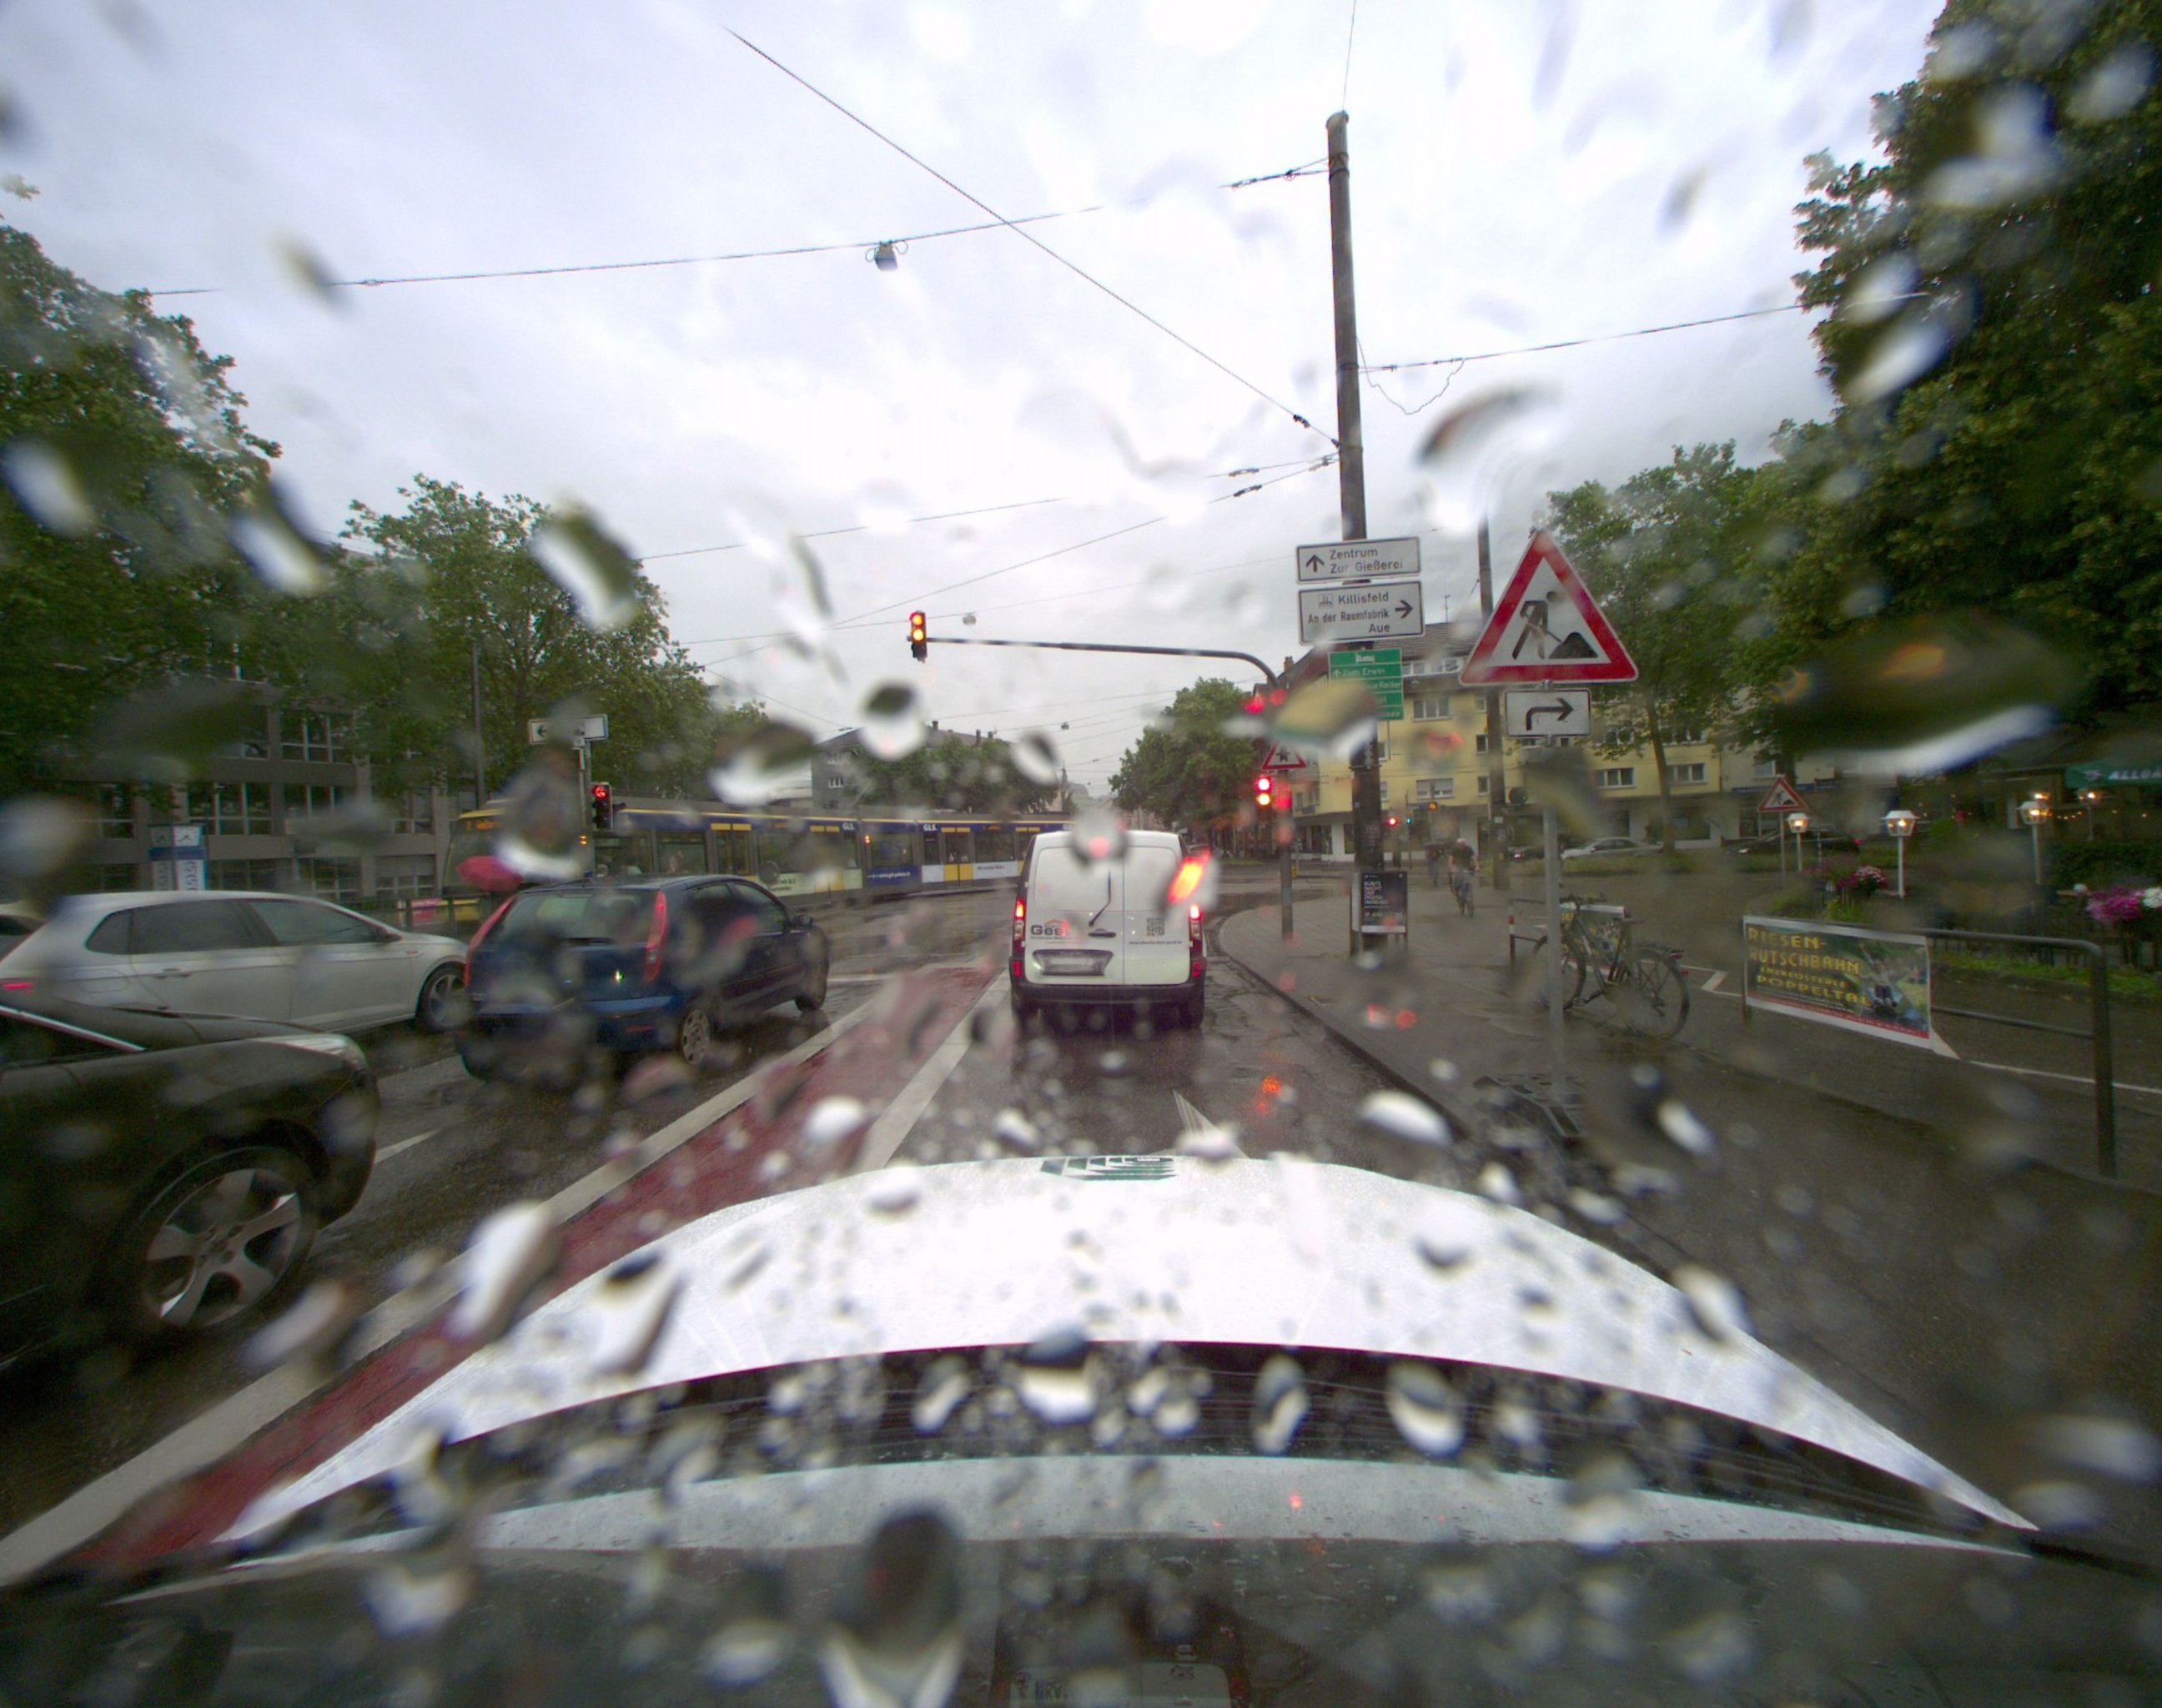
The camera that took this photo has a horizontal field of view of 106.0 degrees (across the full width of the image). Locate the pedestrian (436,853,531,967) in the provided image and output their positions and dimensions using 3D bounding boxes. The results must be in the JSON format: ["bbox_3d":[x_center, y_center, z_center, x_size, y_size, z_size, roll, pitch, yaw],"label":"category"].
[{"bbox_3d":[-9.845,0.895,13.461,0.763,1.746,0.899,-4,1,1],"label":"pedestrian"}]

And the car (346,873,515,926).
[{"bbox_3d":[-18.600,1.251,23.487,1.582,1.314,3.538,-1,0,16],"label":"car"}]

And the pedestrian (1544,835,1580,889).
[{"bbox_3d":[15.239,0.242,25.845,0.896,1.669,1.026,-1,0,27],"label":"pedestrian"}]

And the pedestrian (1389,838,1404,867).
[{"bbox_3d":[16.769,-0.080,43.242,0.614,1.500,0.556,-1,-1,31],"label":"pedestrian"}]

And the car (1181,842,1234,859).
[{"bbox_3d":[10.686,-0.316,68.873,4.160,1.339,1.518,-2,1,-6],"label":"car"}]

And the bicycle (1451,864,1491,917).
[{"bbox_3d":[8.586,0.782,17.996,0.455,1.027,1.910,-1,1,16],"label":"bicycle"}]

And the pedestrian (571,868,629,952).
[{"bbox_3d":[-9.438,1.083,15.992,0.621,1.607,0.744,-1,0,9],"label":"pedestrian"}]

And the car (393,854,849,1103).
[{"bbox_3d":[-3.515,0.809,7.154,1.720,1.578,3.822,-1,0,2],"label":"car"}]

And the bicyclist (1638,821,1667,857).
[{"bbox_3d":[26.512,-0.682,37.795,0.810,1.615,0.711,-1,0,2],"label":"bicyclist"}]

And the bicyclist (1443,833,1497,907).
[{"bbox_3d":[8.567,0.354,17.961,0.872,1.583,0.863,-1,0,12],"label":"bicyclist"}]

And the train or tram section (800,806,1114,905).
[{"bbox_3d":[-4.378,0.058,35.424,3.506,3.413,15.603,0,0,36],"label":"train or tram section"}]

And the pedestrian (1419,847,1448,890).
[{"bbox_3d":[12.778,0.510,29.526,0.820,1.534,0.616,-1,-1,-37],"label":"pedestrian"}]

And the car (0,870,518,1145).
[{"bbox_3d":[-6.701,0.925,6.546,1.623,1.494,3.783,-1,0,2],"label":"car"}]

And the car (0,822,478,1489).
[{"bbox_3d":[-3.648,0.768,1.520,1.827,1.668,4.174,-1,0,2],"label":"car"}]

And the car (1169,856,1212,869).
[{"bbox_3d":[9.518,0.734,70.652,3.437,1.130,1.468,-1,0,-6],"label":"car"}]

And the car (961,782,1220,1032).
[{"bbox_3d":[0.155,0.459,9.236,2.092,2.012,4.965,-2,-1,2],"label":"car"}]

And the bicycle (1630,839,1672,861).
[{"bbox_3d":[26.460,-0.190,37.794,1.631,1.002,0.422,-1,0,2],"label":"bicycle"}]

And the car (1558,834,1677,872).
[{"bbox_3d":[23.064,-0.052,35.165,3.906,1.490,1.815,-1,1,17],"label":"car"}]

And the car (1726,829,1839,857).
[{"bbox_3d":[29.277,-0.433,34.035,3.511,1.082,1.248,-1,0,4],"label":"car"}]

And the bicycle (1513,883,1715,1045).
[{"bbox_3d":[4.486,0.848,7.048,0.512,1.107,2.018,1,0,3],"label":"bicycle"}]

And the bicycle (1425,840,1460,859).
[{"bbox_3d":[24.329,-0.296,54.859,2.085,1.261,0.534,-1,1,16],"label":"bicycle"}]

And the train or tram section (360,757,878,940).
[{"bbox_3d":[-10.954,-0.095,22.664,3.485,3.512,13.723,0,0,18],"label":"train or tram section"}]

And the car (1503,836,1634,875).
[{"bbox_3d":[22.856,0.110,38.374,4.902,1.643,2.007,-1,-3,14],"label":"car"}]

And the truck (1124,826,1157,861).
[{"bbox_3d":[9.300,-1.518,129.110,3.461,5.087,15.291,-1,0,-3],"label":"truck"}]
